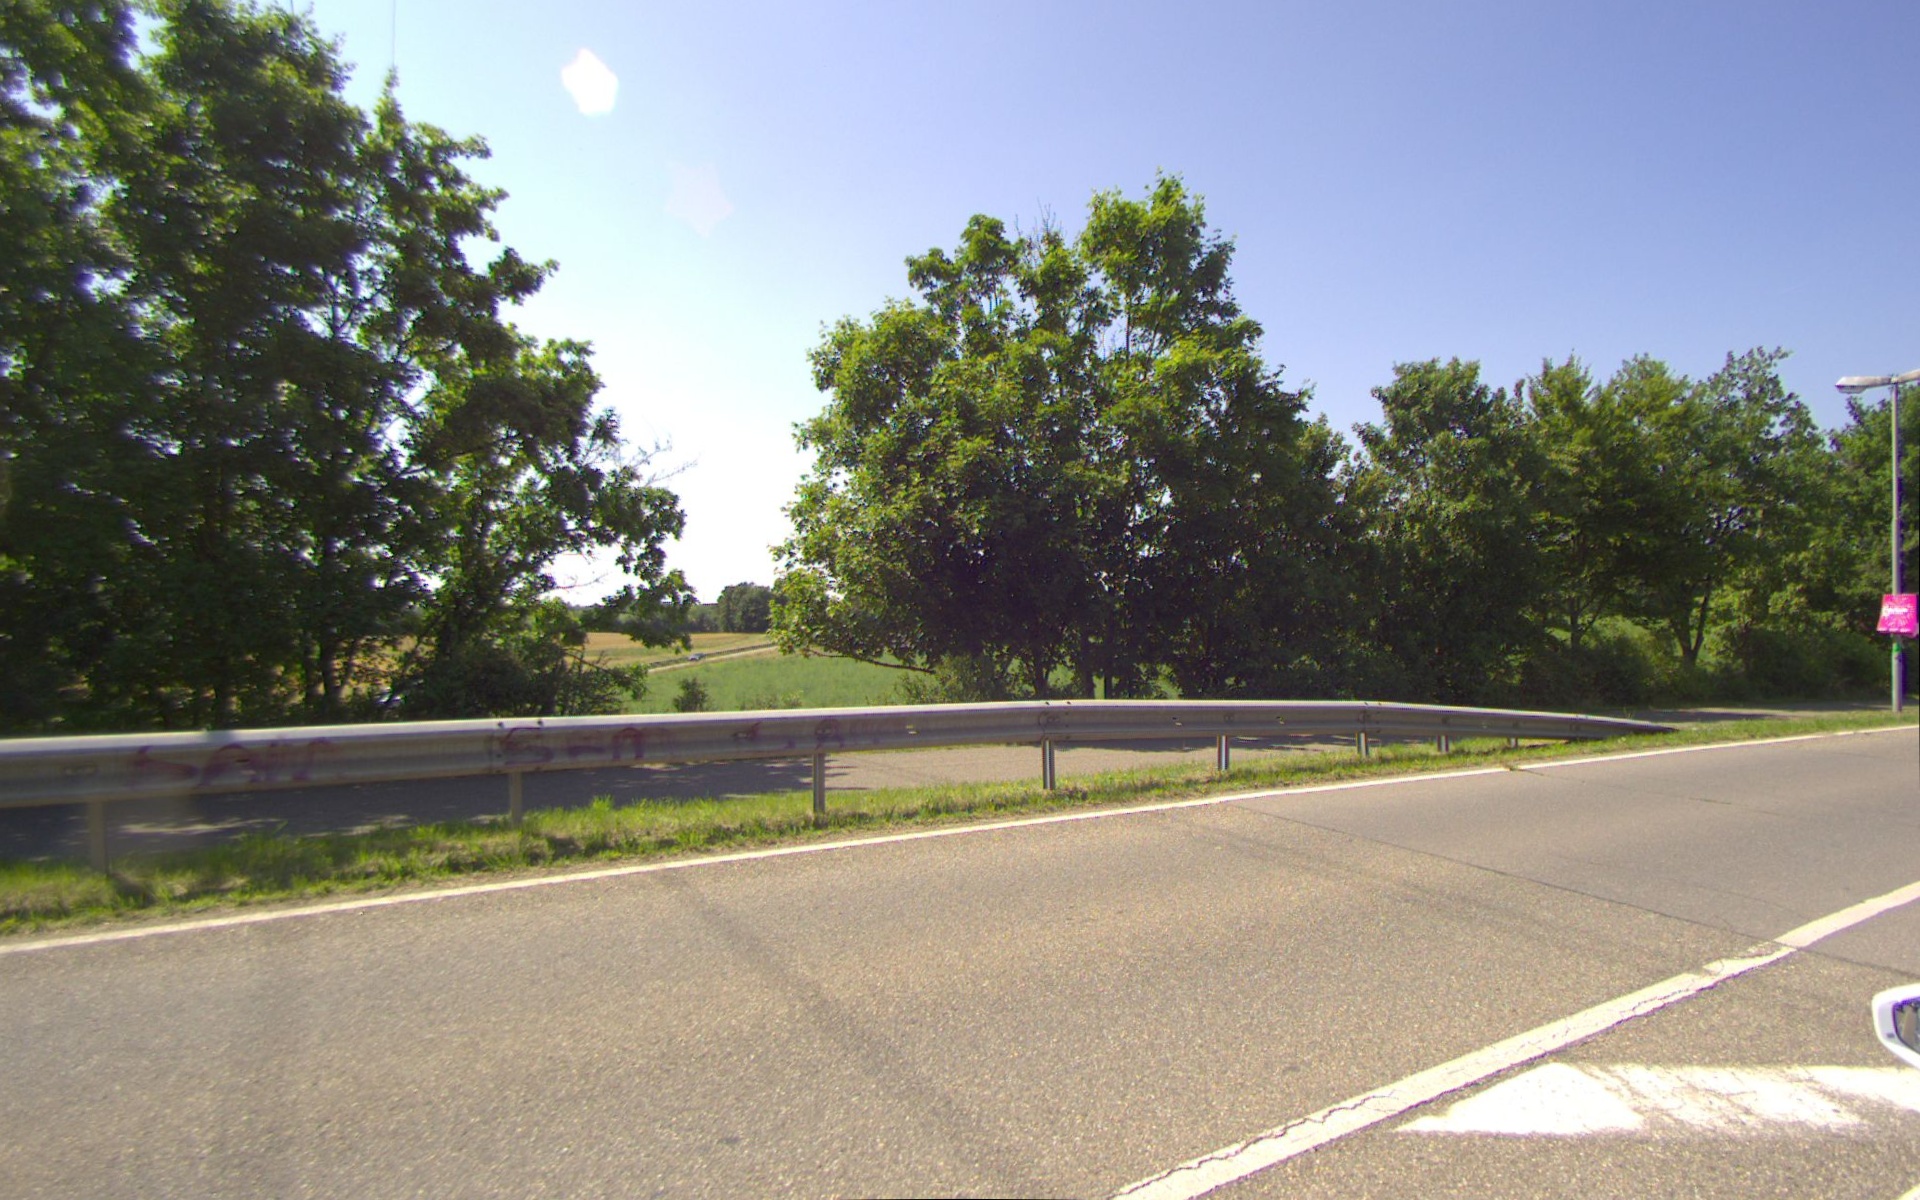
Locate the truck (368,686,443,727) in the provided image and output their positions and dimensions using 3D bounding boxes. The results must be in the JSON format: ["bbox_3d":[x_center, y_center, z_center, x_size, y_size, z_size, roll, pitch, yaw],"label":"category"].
[{"bbox_3d":[-44.242,8.452,80.342,1.960,2.356,6.530,2,1,5],"label":"truck"}]
